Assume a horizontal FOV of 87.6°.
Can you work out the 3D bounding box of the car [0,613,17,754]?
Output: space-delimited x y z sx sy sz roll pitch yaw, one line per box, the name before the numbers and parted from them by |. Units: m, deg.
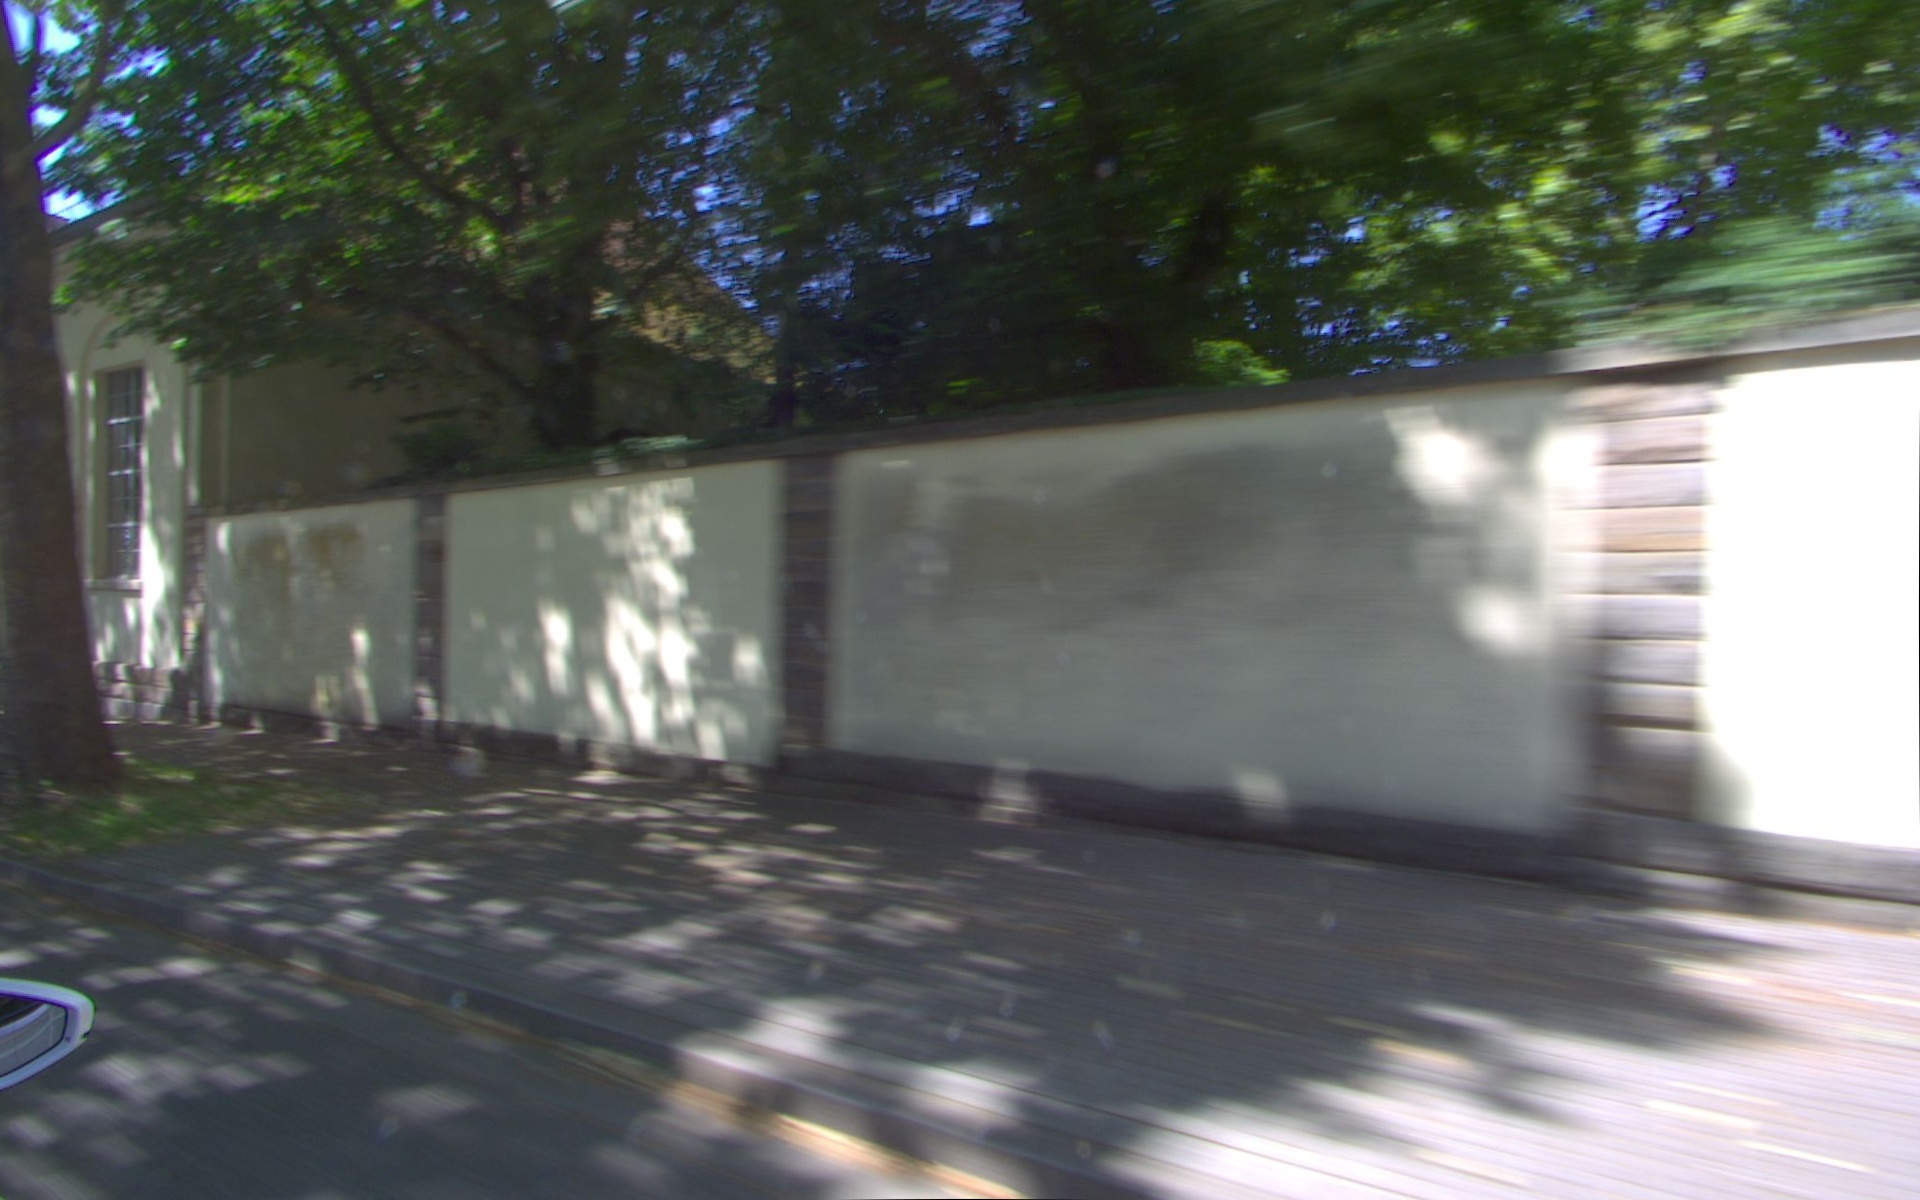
car | -13.167 0.942 11.899 4.711 1.578 1.737 0 1 33
